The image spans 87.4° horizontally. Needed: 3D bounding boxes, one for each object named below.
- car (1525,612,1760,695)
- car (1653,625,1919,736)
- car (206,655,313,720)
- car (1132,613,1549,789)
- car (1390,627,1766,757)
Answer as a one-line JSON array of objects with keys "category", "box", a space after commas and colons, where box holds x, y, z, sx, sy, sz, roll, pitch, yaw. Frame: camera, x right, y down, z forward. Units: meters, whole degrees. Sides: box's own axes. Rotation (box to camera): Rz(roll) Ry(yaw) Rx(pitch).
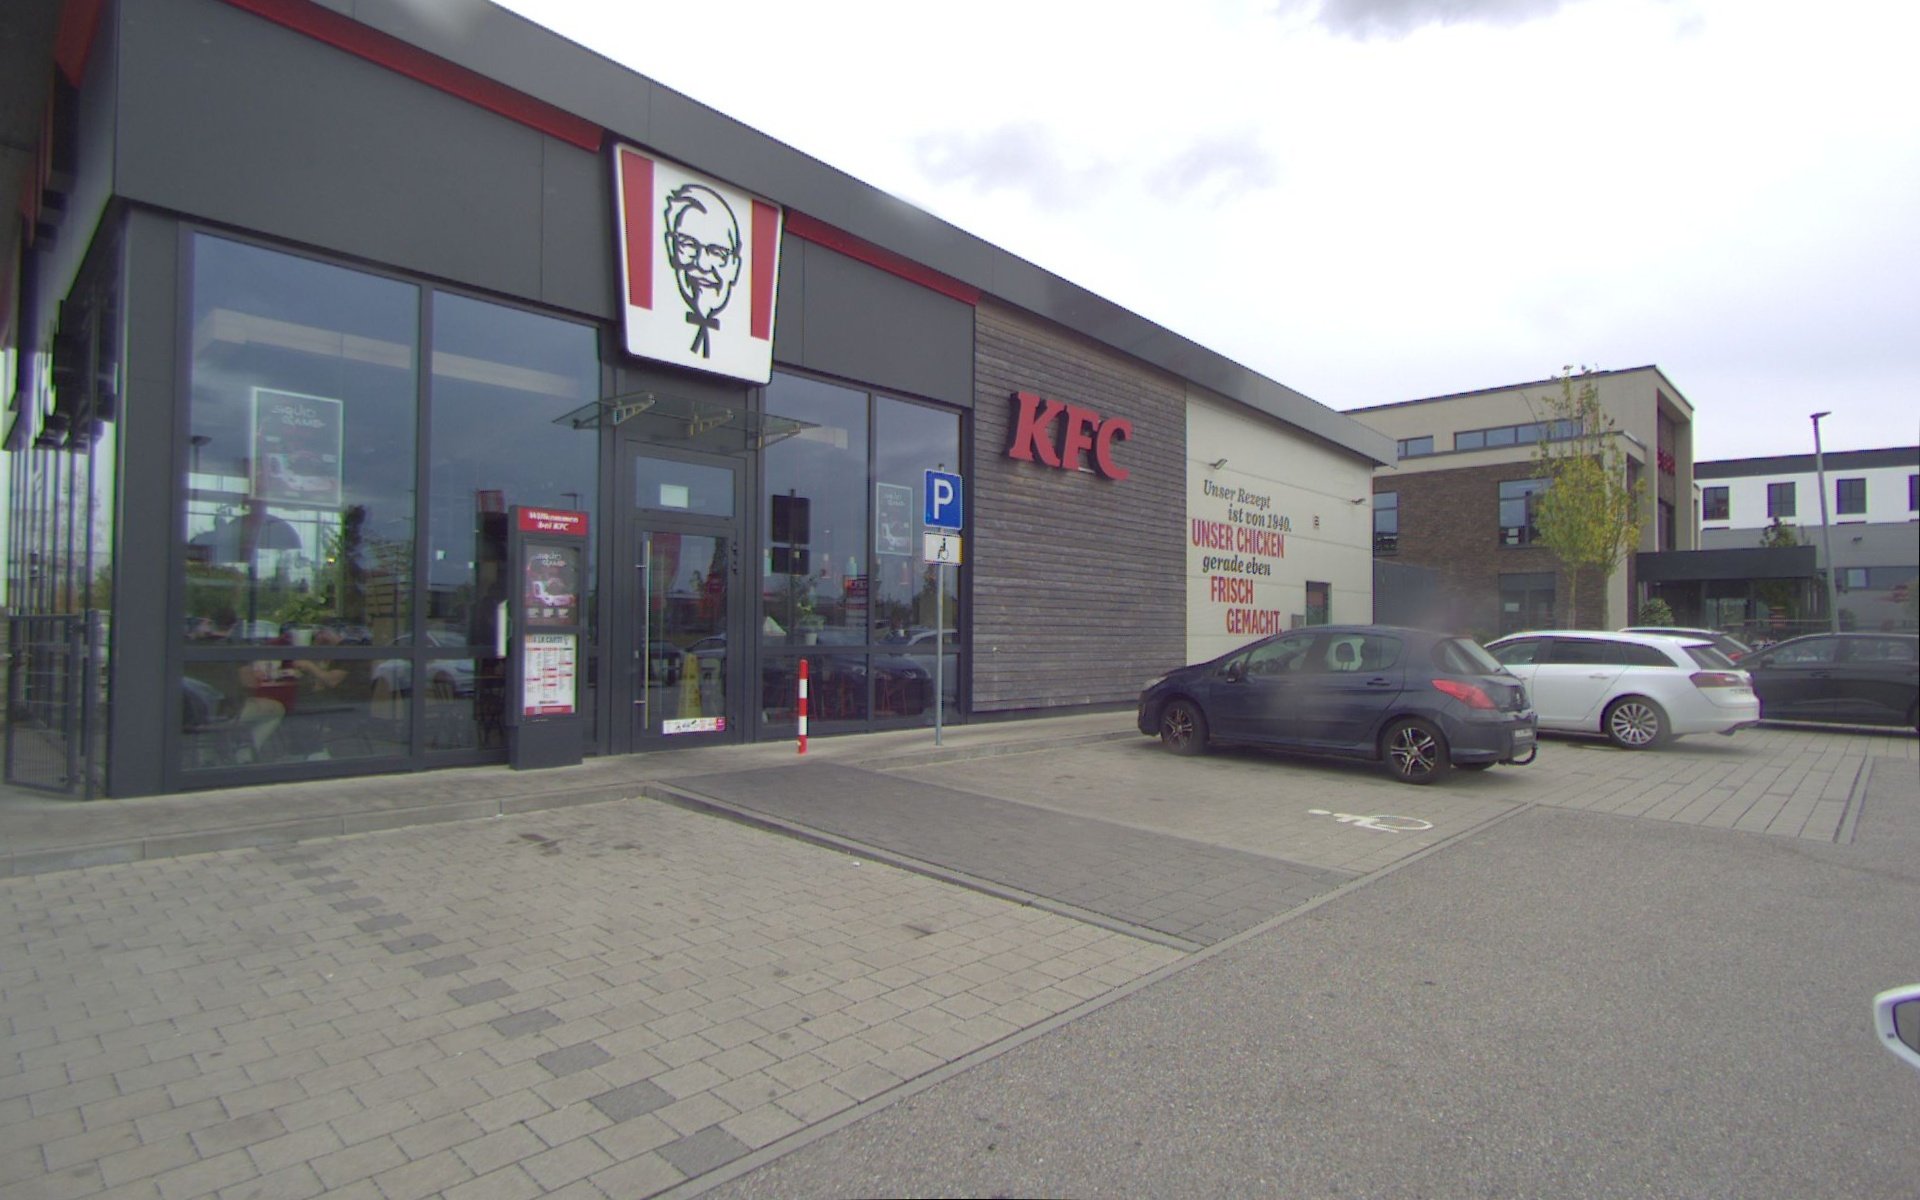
[{"category": "car", "box": [14.363, 1.167, 21.377, 3.933, 1.616, 1.732, -3, -4, 33]}, {"category": "car", "box": [13.387, 1.186, 15.625, 1.730, 1.548, 4.068, 2, -2, -45]}, {"category": "car", "box": [-19.576, 2.382, 28.016, 4.424, 1.638, 1.576, -3, -3, 43]}, {"category": "car", "box": [3.979, 0.929, 10.924, 1.747, 1.507, 3.887, 1, 0, -44]}, {"category": "car", "box": [8.481, 1.155, 14.016, 1.987, 1.505, 4.125, 1, -2, -45]}]
